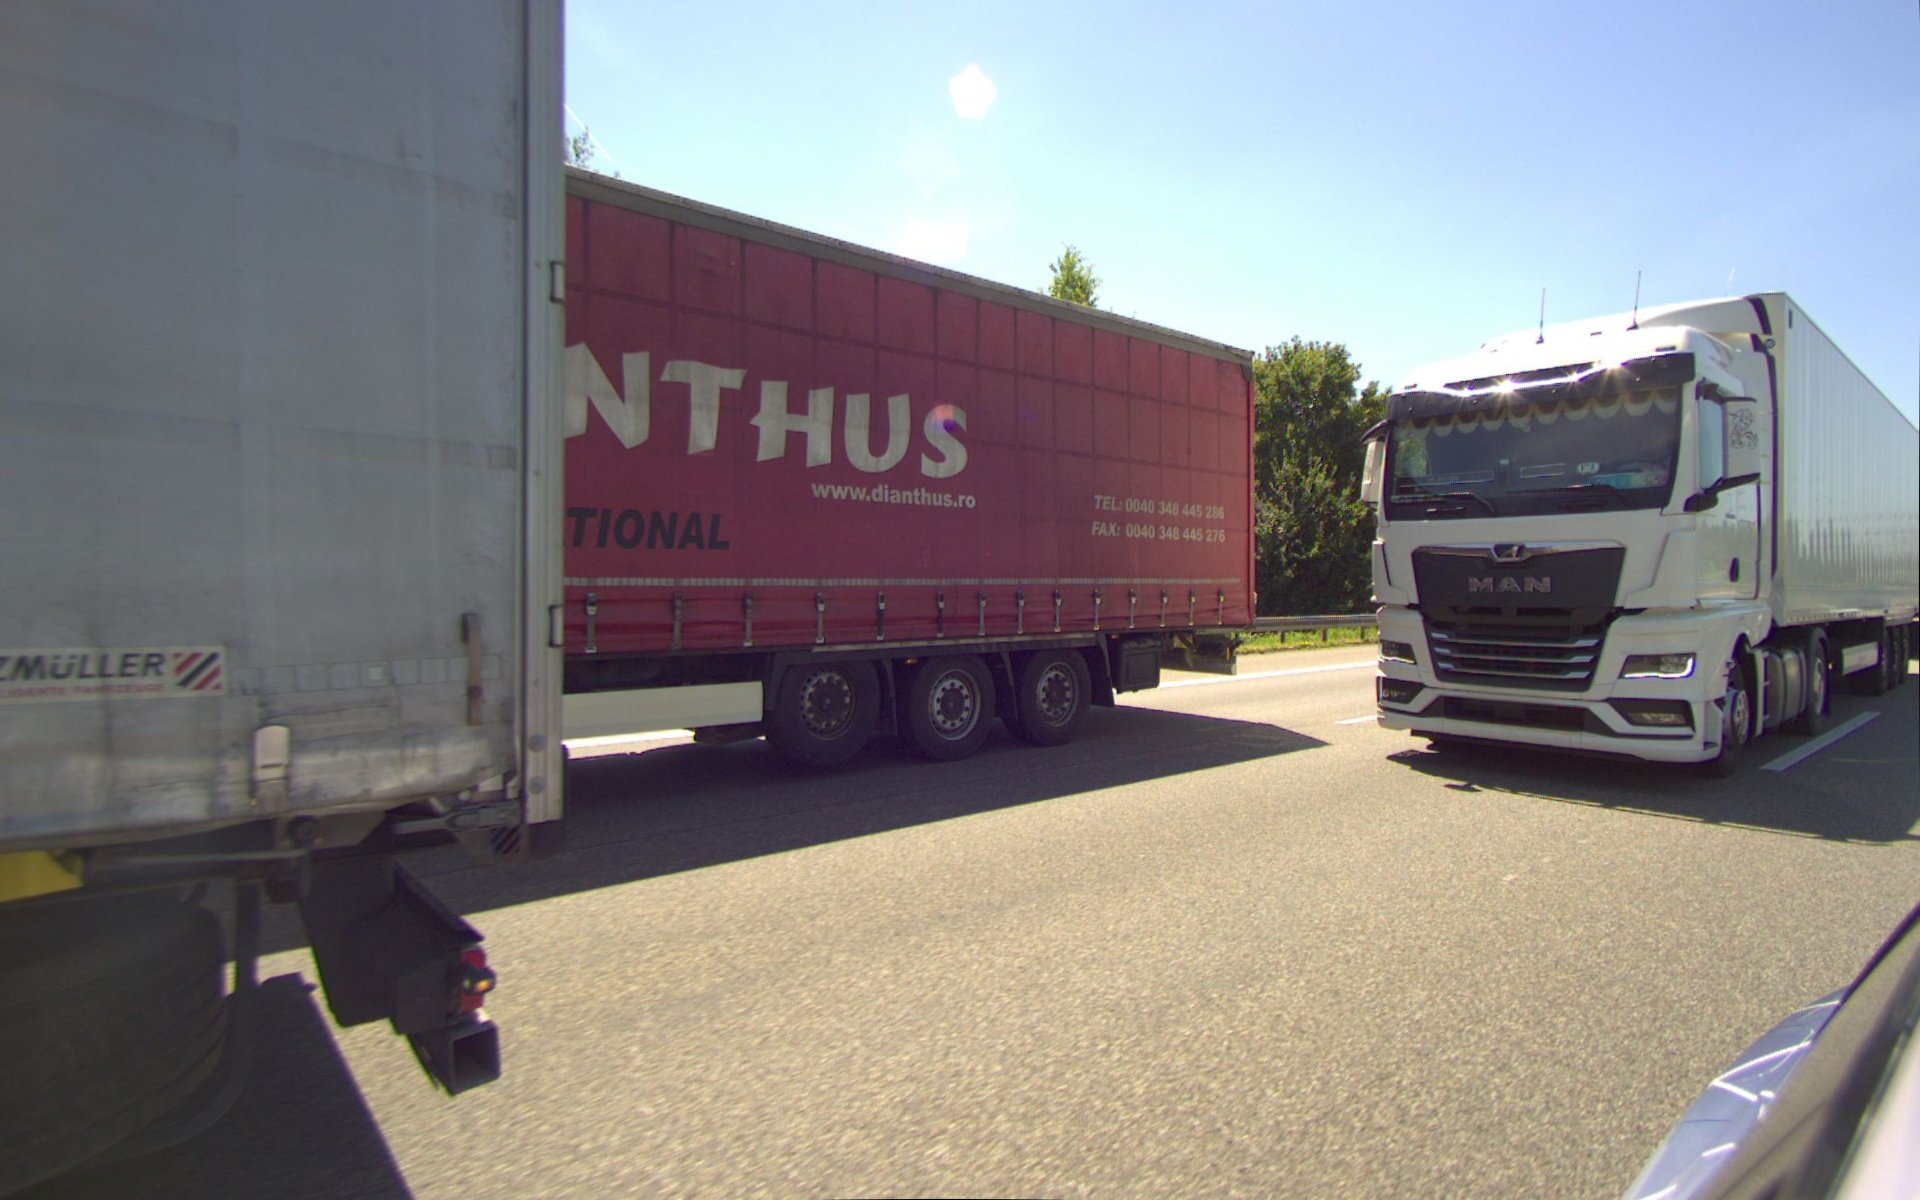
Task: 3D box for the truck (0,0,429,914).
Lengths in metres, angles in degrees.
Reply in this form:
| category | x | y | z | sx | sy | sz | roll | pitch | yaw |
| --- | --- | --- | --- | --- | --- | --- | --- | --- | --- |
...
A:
| category | x | y | z | sx | sy | sz | roll | pitch | yaw |
| --- | --- | --- | --- | --- | --- | --- | --- | --- | --- |
| truck | -5.449 | -0.755 | 4.995 | 4.592 | 4.283 | 2.333 | -1 | 1 | -41 |

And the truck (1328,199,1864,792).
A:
| category | x | y | z | sx | sy | sz | roll | pitch | yaw |
| --- | --- | --- | --- | --- | --- | --- | --- | --- | --- |
| truck | 6.458 | -0.774 | 9.934 | 5.914 | 4.057 | 2.805 | -1 | 1 | -40 |

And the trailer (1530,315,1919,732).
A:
| category | x | y | z | sx | sy | sz | roll | pitch | yaw |
| --- | --- | --- | --- | --- | --- | --- | --- | --- | --- |
| trailer | 12.323 | -0.852 | 15.107 | 12.351 | 4.086 | 2.799 | -1 | 1 | -42 |

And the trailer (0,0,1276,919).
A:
| category | x | y | z | sx | sy | sz | roll | pitch | yaw |
| --- | --- | --- | --- | --- | --- | --- | --- | --- | --- |
| trailer | -1.163 | -0.857 | 8.738 | 10.470 | 4.293 | 2.320 | -1 | 2 | -41 |

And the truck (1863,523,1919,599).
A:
| category | x | y | z | sx | sy | sz | roll | pitch | yaw |
| --- | --- | --- | --- | --- | --- | --- | --- | --- | --- |
| truck | 55.521 | -2.213 | 59.014 | 10.787 | 4.143 | 3.031 | -1 | 1 | -41 |
